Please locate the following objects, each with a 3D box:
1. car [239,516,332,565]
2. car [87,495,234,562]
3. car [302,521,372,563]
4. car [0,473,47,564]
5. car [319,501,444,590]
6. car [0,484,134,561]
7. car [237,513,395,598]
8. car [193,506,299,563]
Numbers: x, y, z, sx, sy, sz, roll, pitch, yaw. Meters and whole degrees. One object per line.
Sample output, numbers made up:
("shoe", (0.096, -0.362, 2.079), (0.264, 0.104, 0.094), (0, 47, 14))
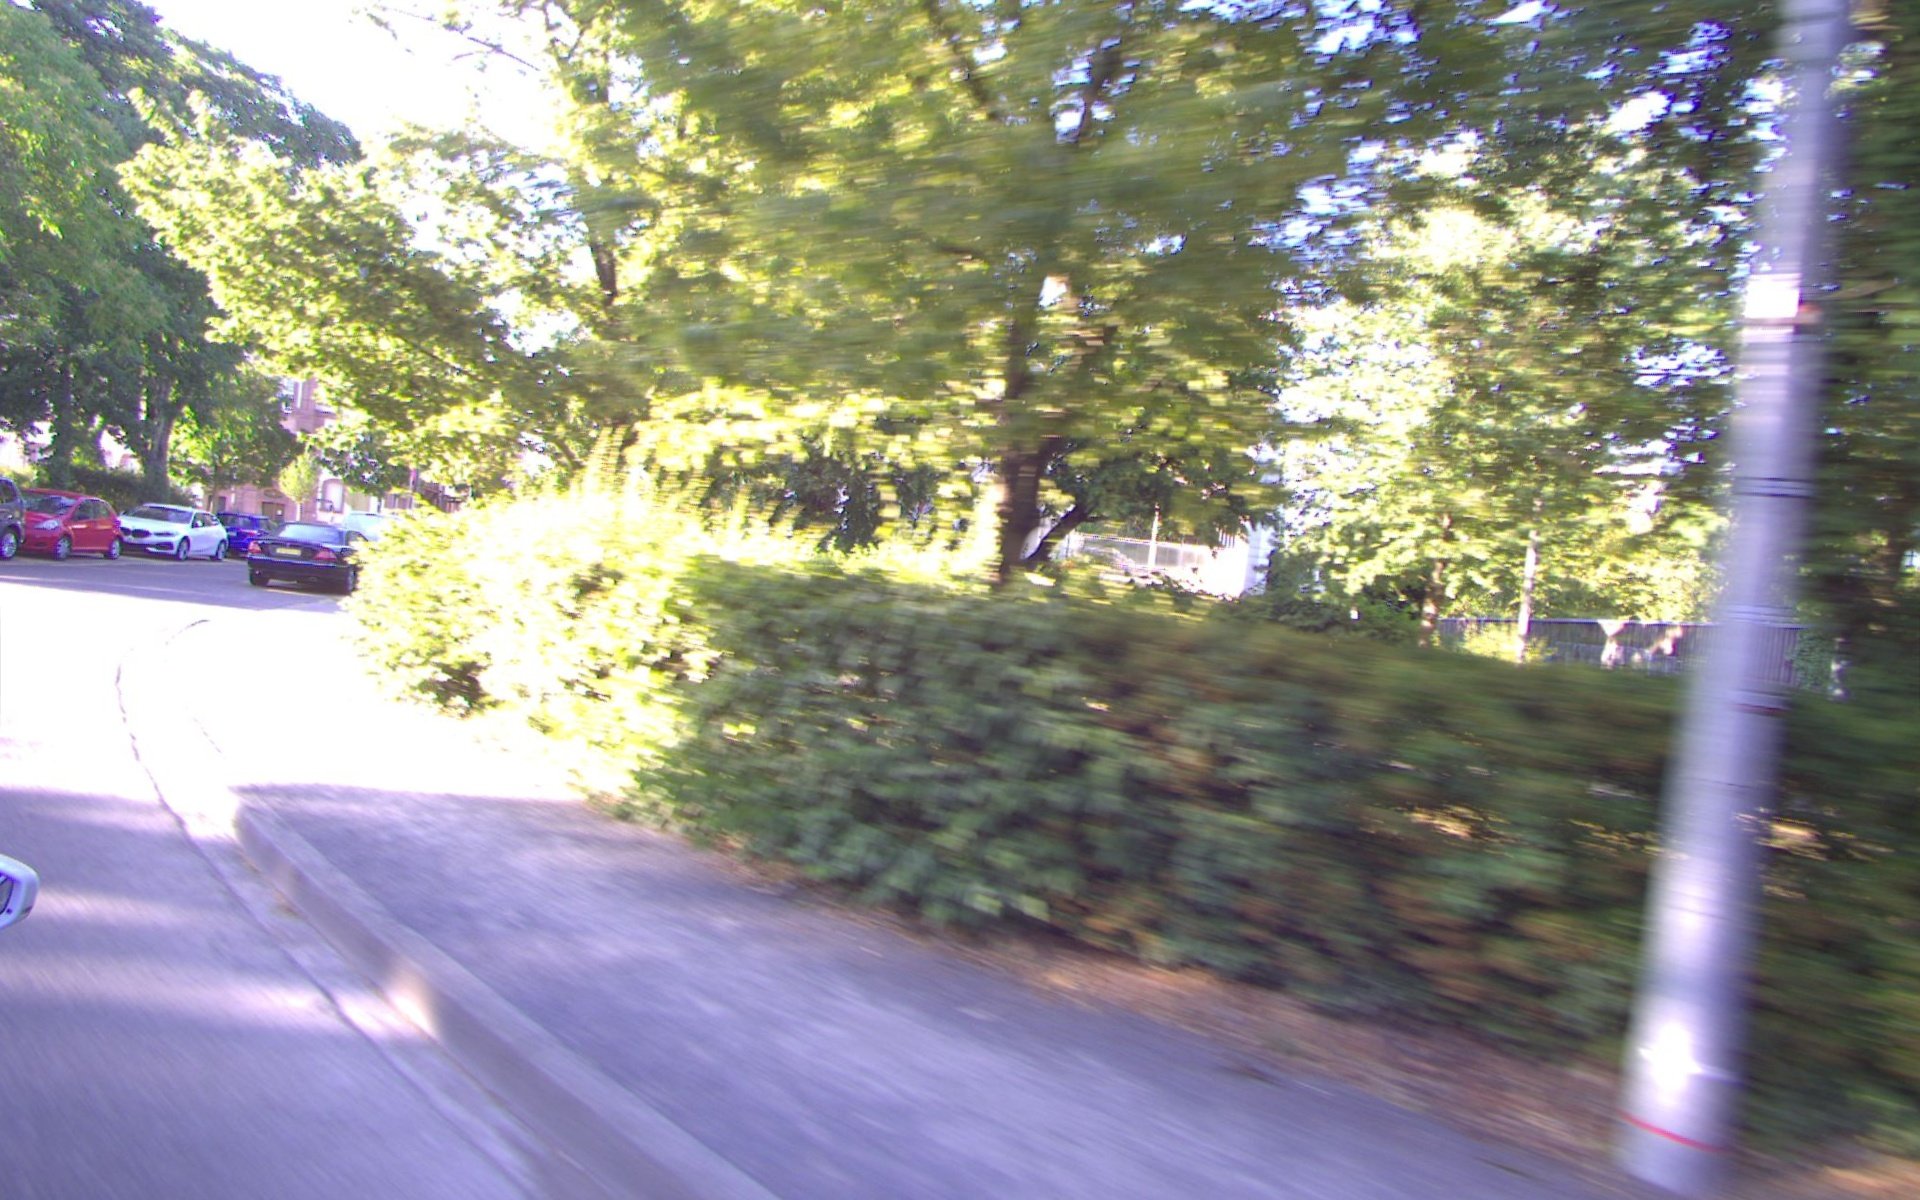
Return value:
("car", (-24.921, -2.147, 37.306), (1.532, 1.513, 3.930), (6, 0, -15))
("car", (-21.800, -1.891, 27.632), (1.671, 1.423, 3.959), (8, 0, -17))
("car", (-26.588, -2.435, 43.042), (1.574, 1.545, 3.848), (6, 0, -19))
("car", (-18.675, -1.621, 17.890), (1.781, 1.696, 4.304), (8, 0, -17))
("car", (-15.924, -1.466, 28.006), (1.931, 2.039, 5.130), (6, 0, -19))
("car", (-20.147, -1.691, 22.403), (1.372, 1.440, 3.413), (8, 0, -17))
("car", (-14.106, -0.968, 22.348), (1.746, 1.486, 4.843), (6, 0, -19))
("car", (-23.645, -2.130, 33.458), (1.620, 1.513, 3.691), (8, 0, -17))
